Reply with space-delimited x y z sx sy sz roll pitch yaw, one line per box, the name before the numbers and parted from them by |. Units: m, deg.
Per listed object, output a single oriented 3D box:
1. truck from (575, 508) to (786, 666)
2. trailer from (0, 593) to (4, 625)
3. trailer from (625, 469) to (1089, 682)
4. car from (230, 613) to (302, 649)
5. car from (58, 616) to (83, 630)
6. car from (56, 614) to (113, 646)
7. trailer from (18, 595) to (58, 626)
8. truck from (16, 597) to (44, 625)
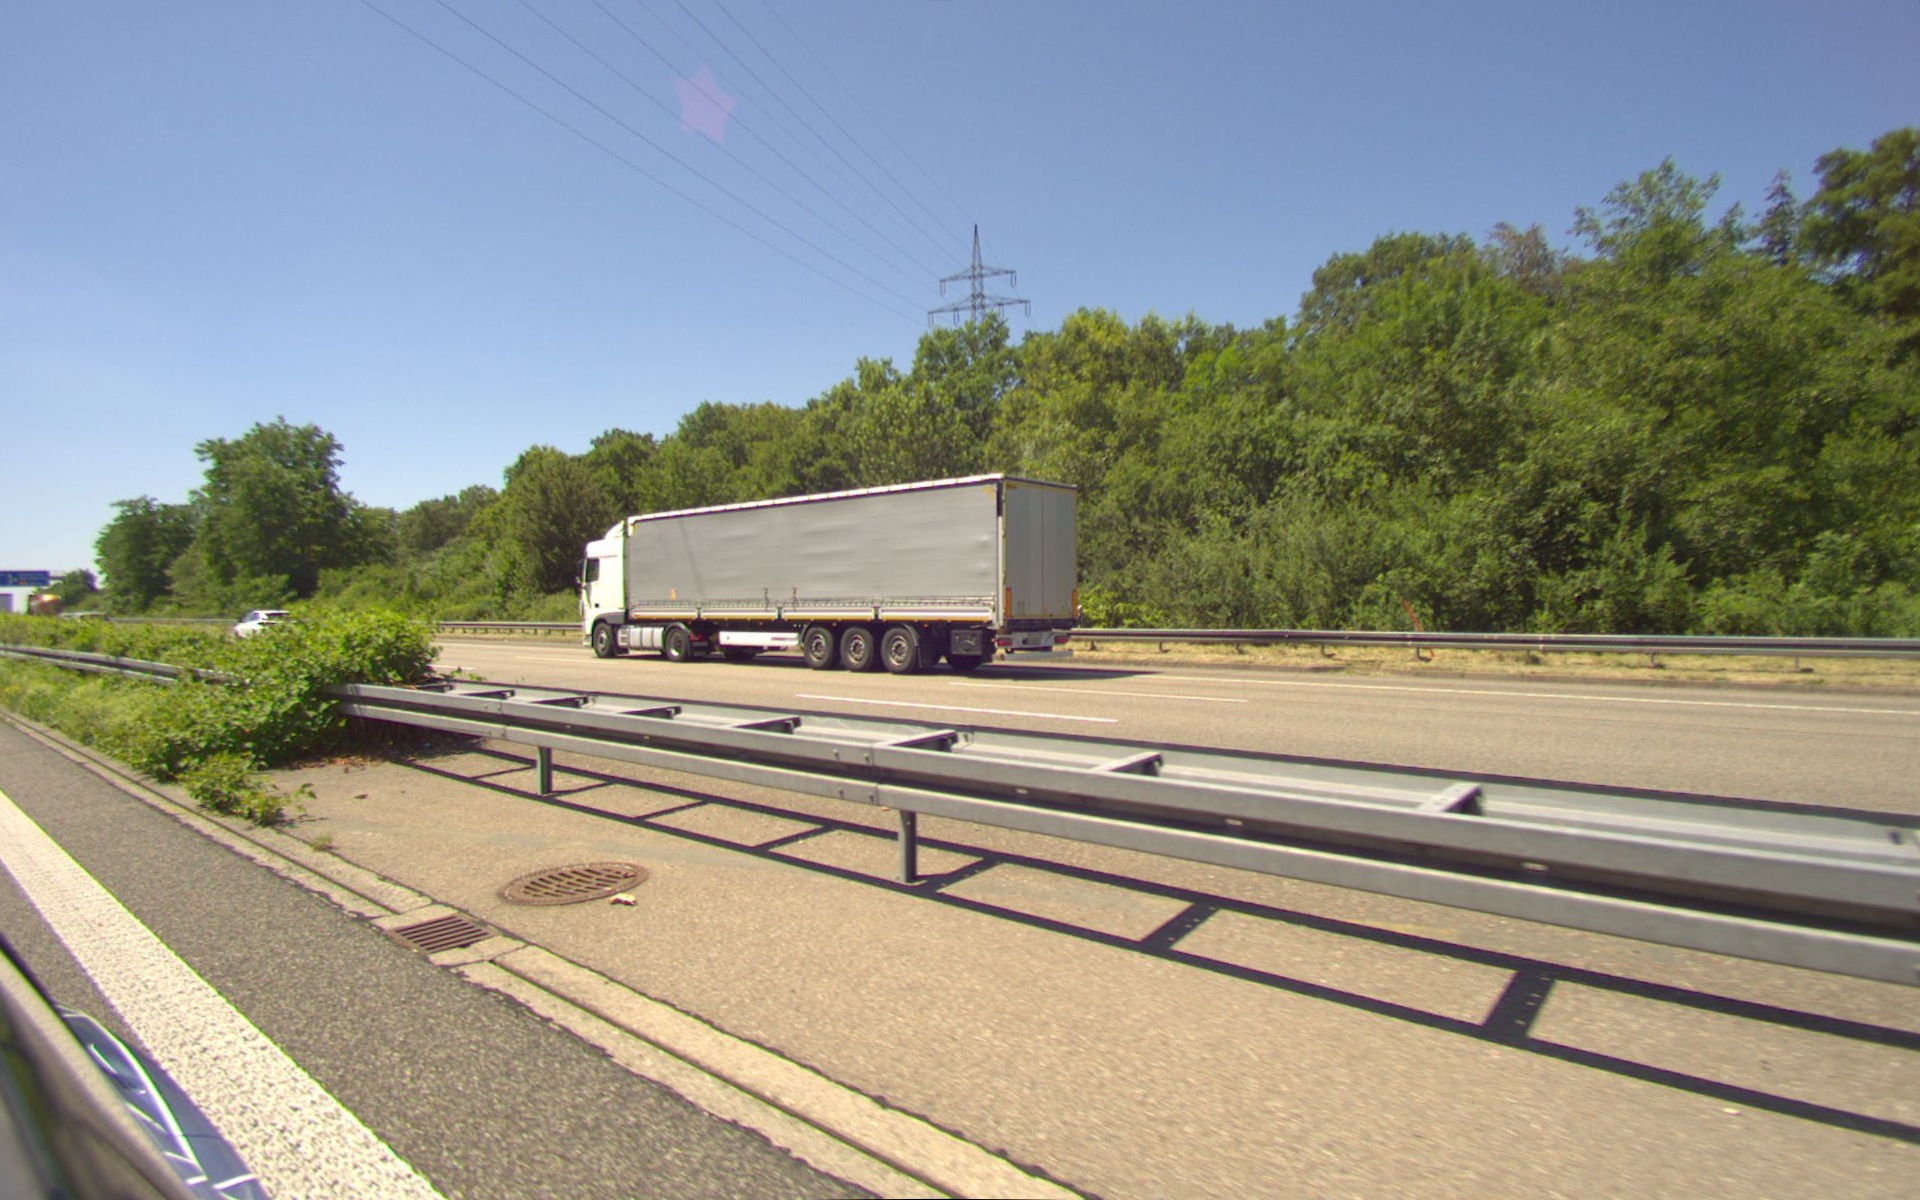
truck | -8.077 -0.288 28.779 6.551 4.015 2.632 -1 -1 41
trailer | -126.617 1.223 131.377 14.395 3.965 2.439 -1 -1 42
trailer | -3.307 -0.371 24.550 13.658 3.996 2.642 -1 -1 42
car | -29.296 1.280 42.681 4.123 1.465 1.647 -1 -1 42
car | -100.487 2.576 114.309 3.999 1.490 1.702 -1 -1 42
car | -42.710 1.454 49.362 4.123 1.465 1.647 -1 -1 42
trailer | -115.325 1.360 126.534 14.217 3.623 2.346 -1 -1 42
truck | -120.650 1.457 131.317 4.162 3.629 2.332 -1 -1 42
